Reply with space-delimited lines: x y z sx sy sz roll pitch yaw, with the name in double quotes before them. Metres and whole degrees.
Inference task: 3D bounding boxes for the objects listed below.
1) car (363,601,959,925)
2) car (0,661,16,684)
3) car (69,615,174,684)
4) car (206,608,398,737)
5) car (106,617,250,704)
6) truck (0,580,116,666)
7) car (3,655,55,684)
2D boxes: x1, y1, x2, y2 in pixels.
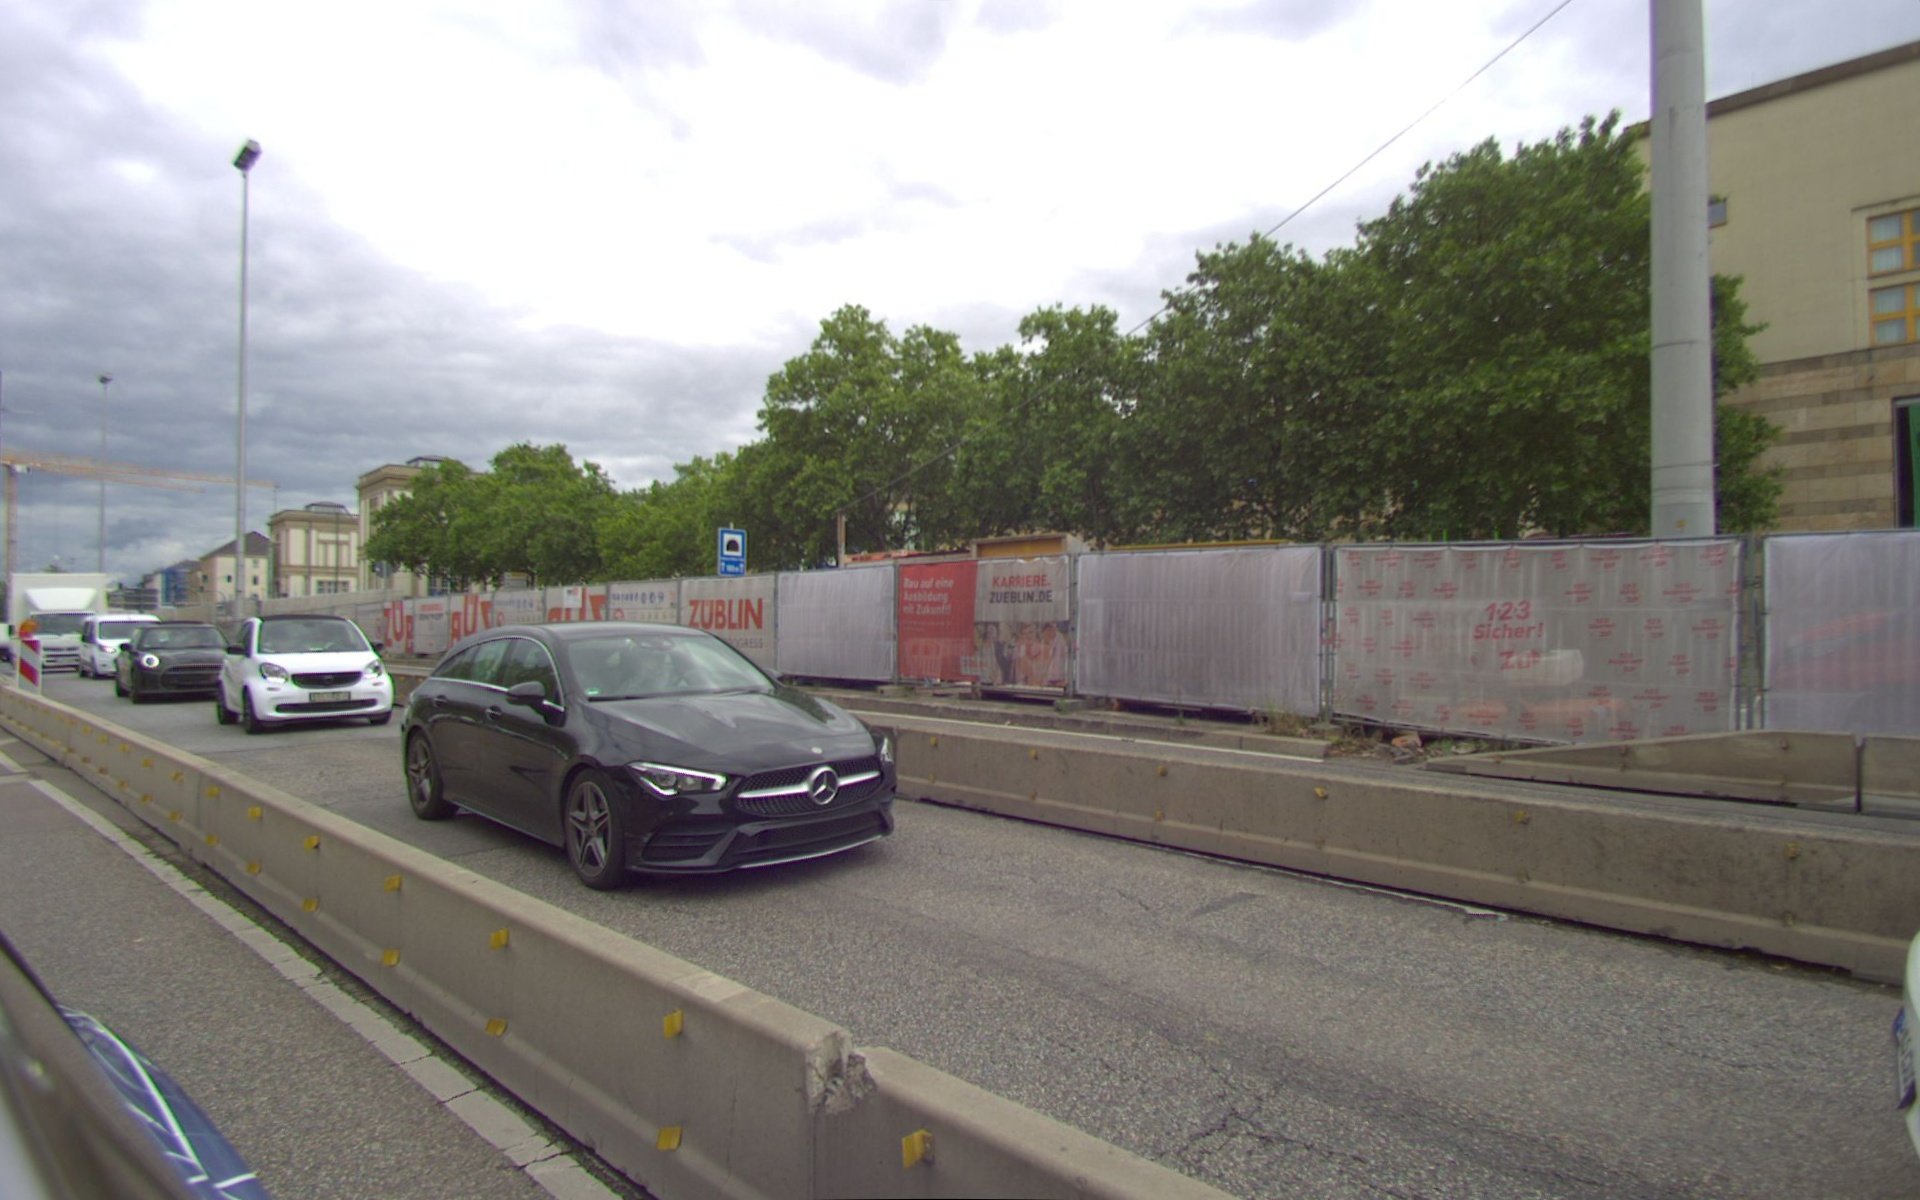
"car" -2.286 0.770 6.800 4.567 1.426 1.833 -1 0 44
"car" -74.560 5.628 78.236 3.997 1.519 1.849 -1 1 40
"car" -23.573 1.340 28.404 4.482 1.774 1.817 -2 -2 45
"car" -9.204 0.927 14.082 3.003 1.566 1.612 -1 -1 44
"car" -14.921 1.071 19.232 3.936 1.450 1.629 -1 -1 44
"truck" -32.509 0.828 36.258 2.936 2.795 7.260 1 -2 -44
"car" -58.145 4.298 63.174 3.997 1.519 1.849 -1 1 40
